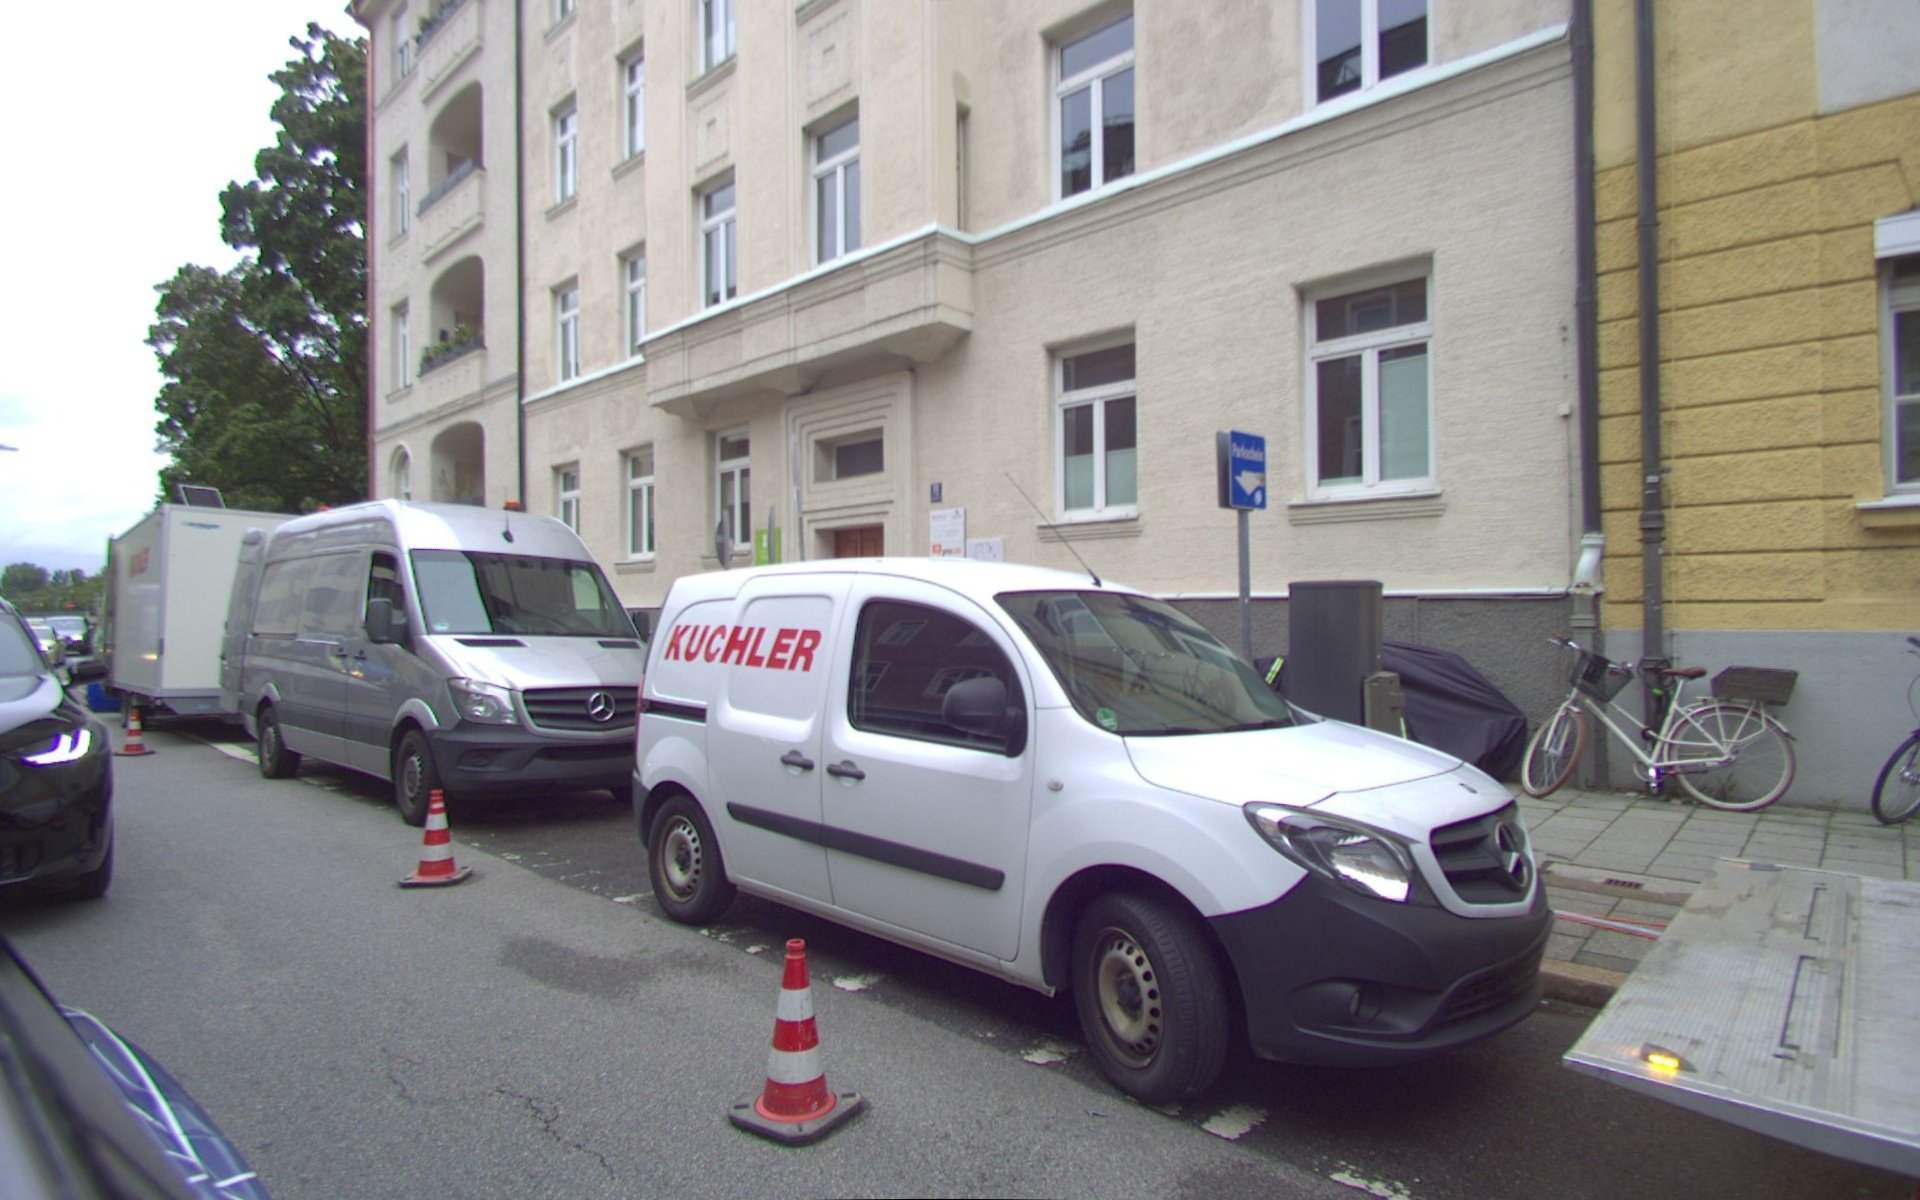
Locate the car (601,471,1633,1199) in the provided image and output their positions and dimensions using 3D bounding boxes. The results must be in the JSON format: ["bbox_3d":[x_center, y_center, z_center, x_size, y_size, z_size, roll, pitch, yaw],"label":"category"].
[{"bbox_3d":[0.252,0.663,4.515,4.328,1.792,1.743,-2,-3,44],"label":"car"}]

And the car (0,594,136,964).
[{"bbox_3d":[-5.990,0.772,5.445,4.295,1.577,1.895,-1,-1,44],"label":"car"}]

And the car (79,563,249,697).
[{"bbox_3d":[-18.072,0.665,22.795,6.796,2.592,2.117,-2,-1,44],"label":"car"}]

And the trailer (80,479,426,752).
[{"bbox_3d":[-10.601,0.365,14.774,2.771,2.992,7.604,5,-5,-44],"label":"trailer"}]

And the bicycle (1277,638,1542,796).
[{"bbox_3d":[3.492,0.868,7.969,1.859,1.112,0.397,-1,-1,33],"label":"bicycle"}]

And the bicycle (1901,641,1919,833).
[{"bbox_3d":[6.475,0.808,5.647,1.766,1.112,0.601,-1,-1,43],"label":"bicycle"}]

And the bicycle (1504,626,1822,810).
[{"bbox_3d":[4.882,0.761,7.118,1.766,1.112,0.501,-1,2,43],"label":"bicycle"}]

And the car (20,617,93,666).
[{"bbox_3d":[-32.824,1.468,36.771,1.791,1.601,4.169,6,-5,-42],"label":"car"}]

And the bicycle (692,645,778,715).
[{"bbox_3d":[-3.379,1.165,15.098,0.410,0.921,1.759,-4,2,-42],"label":"bicycle"}]

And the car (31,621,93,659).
[{"bbox_3d":[-38.589,1.702,43.536,1.791,1.474,4.170,6,-5,-41],"label":"car"}]

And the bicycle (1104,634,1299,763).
[{"bbox_3d":[2.272,0.895,9.726,1.864,1.112,0.396,-1,-1,43],"label":"bicycle"}]

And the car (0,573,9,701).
[{"bbox_3d":[-21.681,0.745,21.445,6.235,2.510,1.978,0,0,45],"label":"car"}]

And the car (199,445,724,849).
[{"bbox_3d":[-5.132,0.439,9.636,6.876,2.607,2.033,-2,-6,43],"label":"car"}]
